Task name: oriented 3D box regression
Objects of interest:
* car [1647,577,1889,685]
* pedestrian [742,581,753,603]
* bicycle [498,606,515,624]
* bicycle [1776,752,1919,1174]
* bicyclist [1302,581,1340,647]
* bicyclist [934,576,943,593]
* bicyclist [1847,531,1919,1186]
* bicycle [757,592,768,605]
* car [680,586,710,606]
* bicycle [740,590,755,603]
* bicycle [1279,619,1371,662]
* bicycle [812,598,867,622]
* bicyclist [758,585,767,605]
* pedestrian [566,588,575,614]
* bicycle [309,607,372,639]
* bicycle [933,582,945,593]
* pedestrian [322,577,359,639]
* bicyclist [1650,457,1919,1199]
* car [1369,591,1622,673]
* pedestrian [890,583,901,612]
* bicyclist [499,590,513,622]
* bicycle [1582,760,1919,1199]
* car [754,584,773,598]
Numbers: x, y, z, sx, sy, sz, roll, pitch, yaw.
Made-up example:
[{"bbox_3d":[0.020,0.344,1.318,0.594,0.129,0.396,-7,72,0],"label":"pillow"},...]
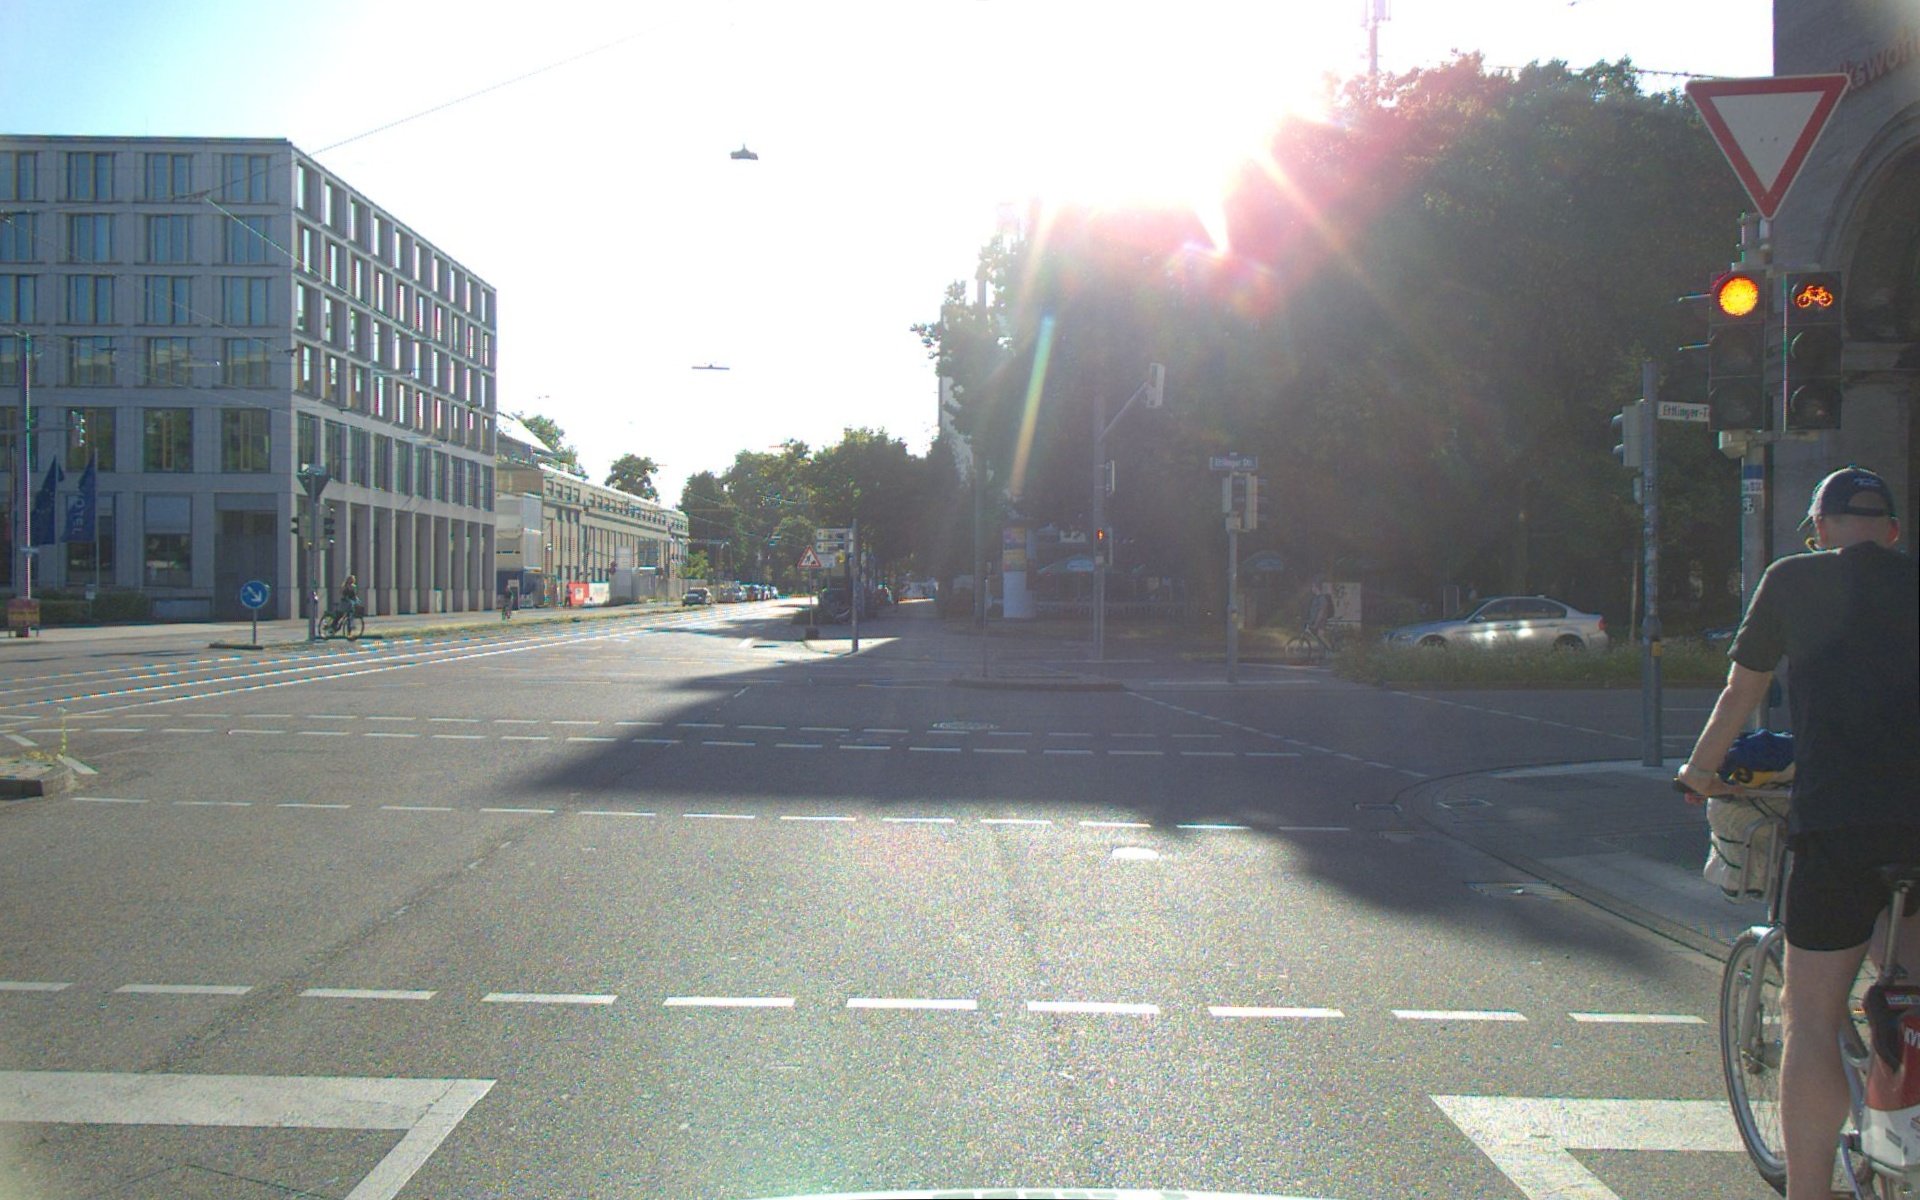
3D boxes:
[{"bbox_3d":[16.223,0.616,33.369,3.905,2.049,2.000,1,0,0],"label":"car"},{"bbox_3d":[-20.112,-0.734,156.545,0.735,2.099,1.050,1,-1,5],"label":"pedestrian"},{"bbox_3d":[-21.595,0.726,78.776,0.484,0.854,1.156,0,0,2],"label":"bicycle"},{"bbox_3d":[2.875,1.017,4.380,0.570,1.062,1.747,0,0,0],"label":"bicycle"},{"bbox_3d":[7.951,0.309,36.483,0.731,1.431,0.702,1,-1,6],"label":"bicyclist"},{"bbox_3d":[-2.580,-1.889,200.512,0.875,2.049,0.746,1,-1,-12],"label":"bicyclist"},{"bbox_3d":[2.874,0.697,4.345,0.572,1.769,0.950,0,0,0],"label":"bicyclist"},{"bbox_3d":[-19.376,-0.148,162.333,0.735,1.226,3.107,1,0,-2],"label":"bicycle"},{"bbox_3d":[-21.670,-0.321,135.418,1.954,1.627,3.997,0,1,-3],"label":"car"},{"bbox_3d":[-20.078,-0.315,156.478,0.735,1.226,3.109,1,0,5],"label":"bicycle"},{"bbox_3d":[8.029,0.884,36.476,1.902,0.905,0.718,1,0,5],"label":"bicycle"},{"bbox_3d":[-4.892,0.411,67.129,2.201,0.956,0.653,0,0,-6],"label":"bicycle"},{"bbox_3d":[-19.343,-0.529,162.217,0.735,1.953,1.214,1,0,-2],"label":"bicyclist"},{"bbox_3d":[-29.123,0.073,123.671,0.576,1.922,0.478,1,-1,-1],"label":"pedestrian"},{"bbox_3d":[-16.319,0.605,43.580,1.679,0.837,0.573,0,0,27],"label":"bicycle"},{"bbox_3d":[-2.574,-1.481,200.532,0.875,1.240,2.785,1,0,-12],"label":"bicycle"},{"bbox_3d":[-16.314,0.207,43.581,0.727,1.623,0.573,0,0,26],"label":"pedestrian"},{"bbox_3d":[2.132,0.573,3.892,0.610,1.745,0.912,0,0,-2],"label":"bicyclist"},{"bbox_3d":[10.844,0.635,33.715,4.483,1.543,2.000,1,0,-1],"label":"car"},{"bbox_3d":[-3.814,-0.162,97.565,0.566,1.719,0.584,0,0,-8],"label":"pedestrian"},{"bbox_3d":[-21.599,0.267,78.707,0.484,1.525,0.666,0,0,2],"label":"bicyclist"},{"bbox_3d":[2.128,1.001,3.904,0.610,1.062,1.746,0,0,-2],"label":"bicycle"},{"bbox_3d":[-23.048,-1.055,194.350,1.954,1.673,3.997,0,0,-4],"label":"car"}]
